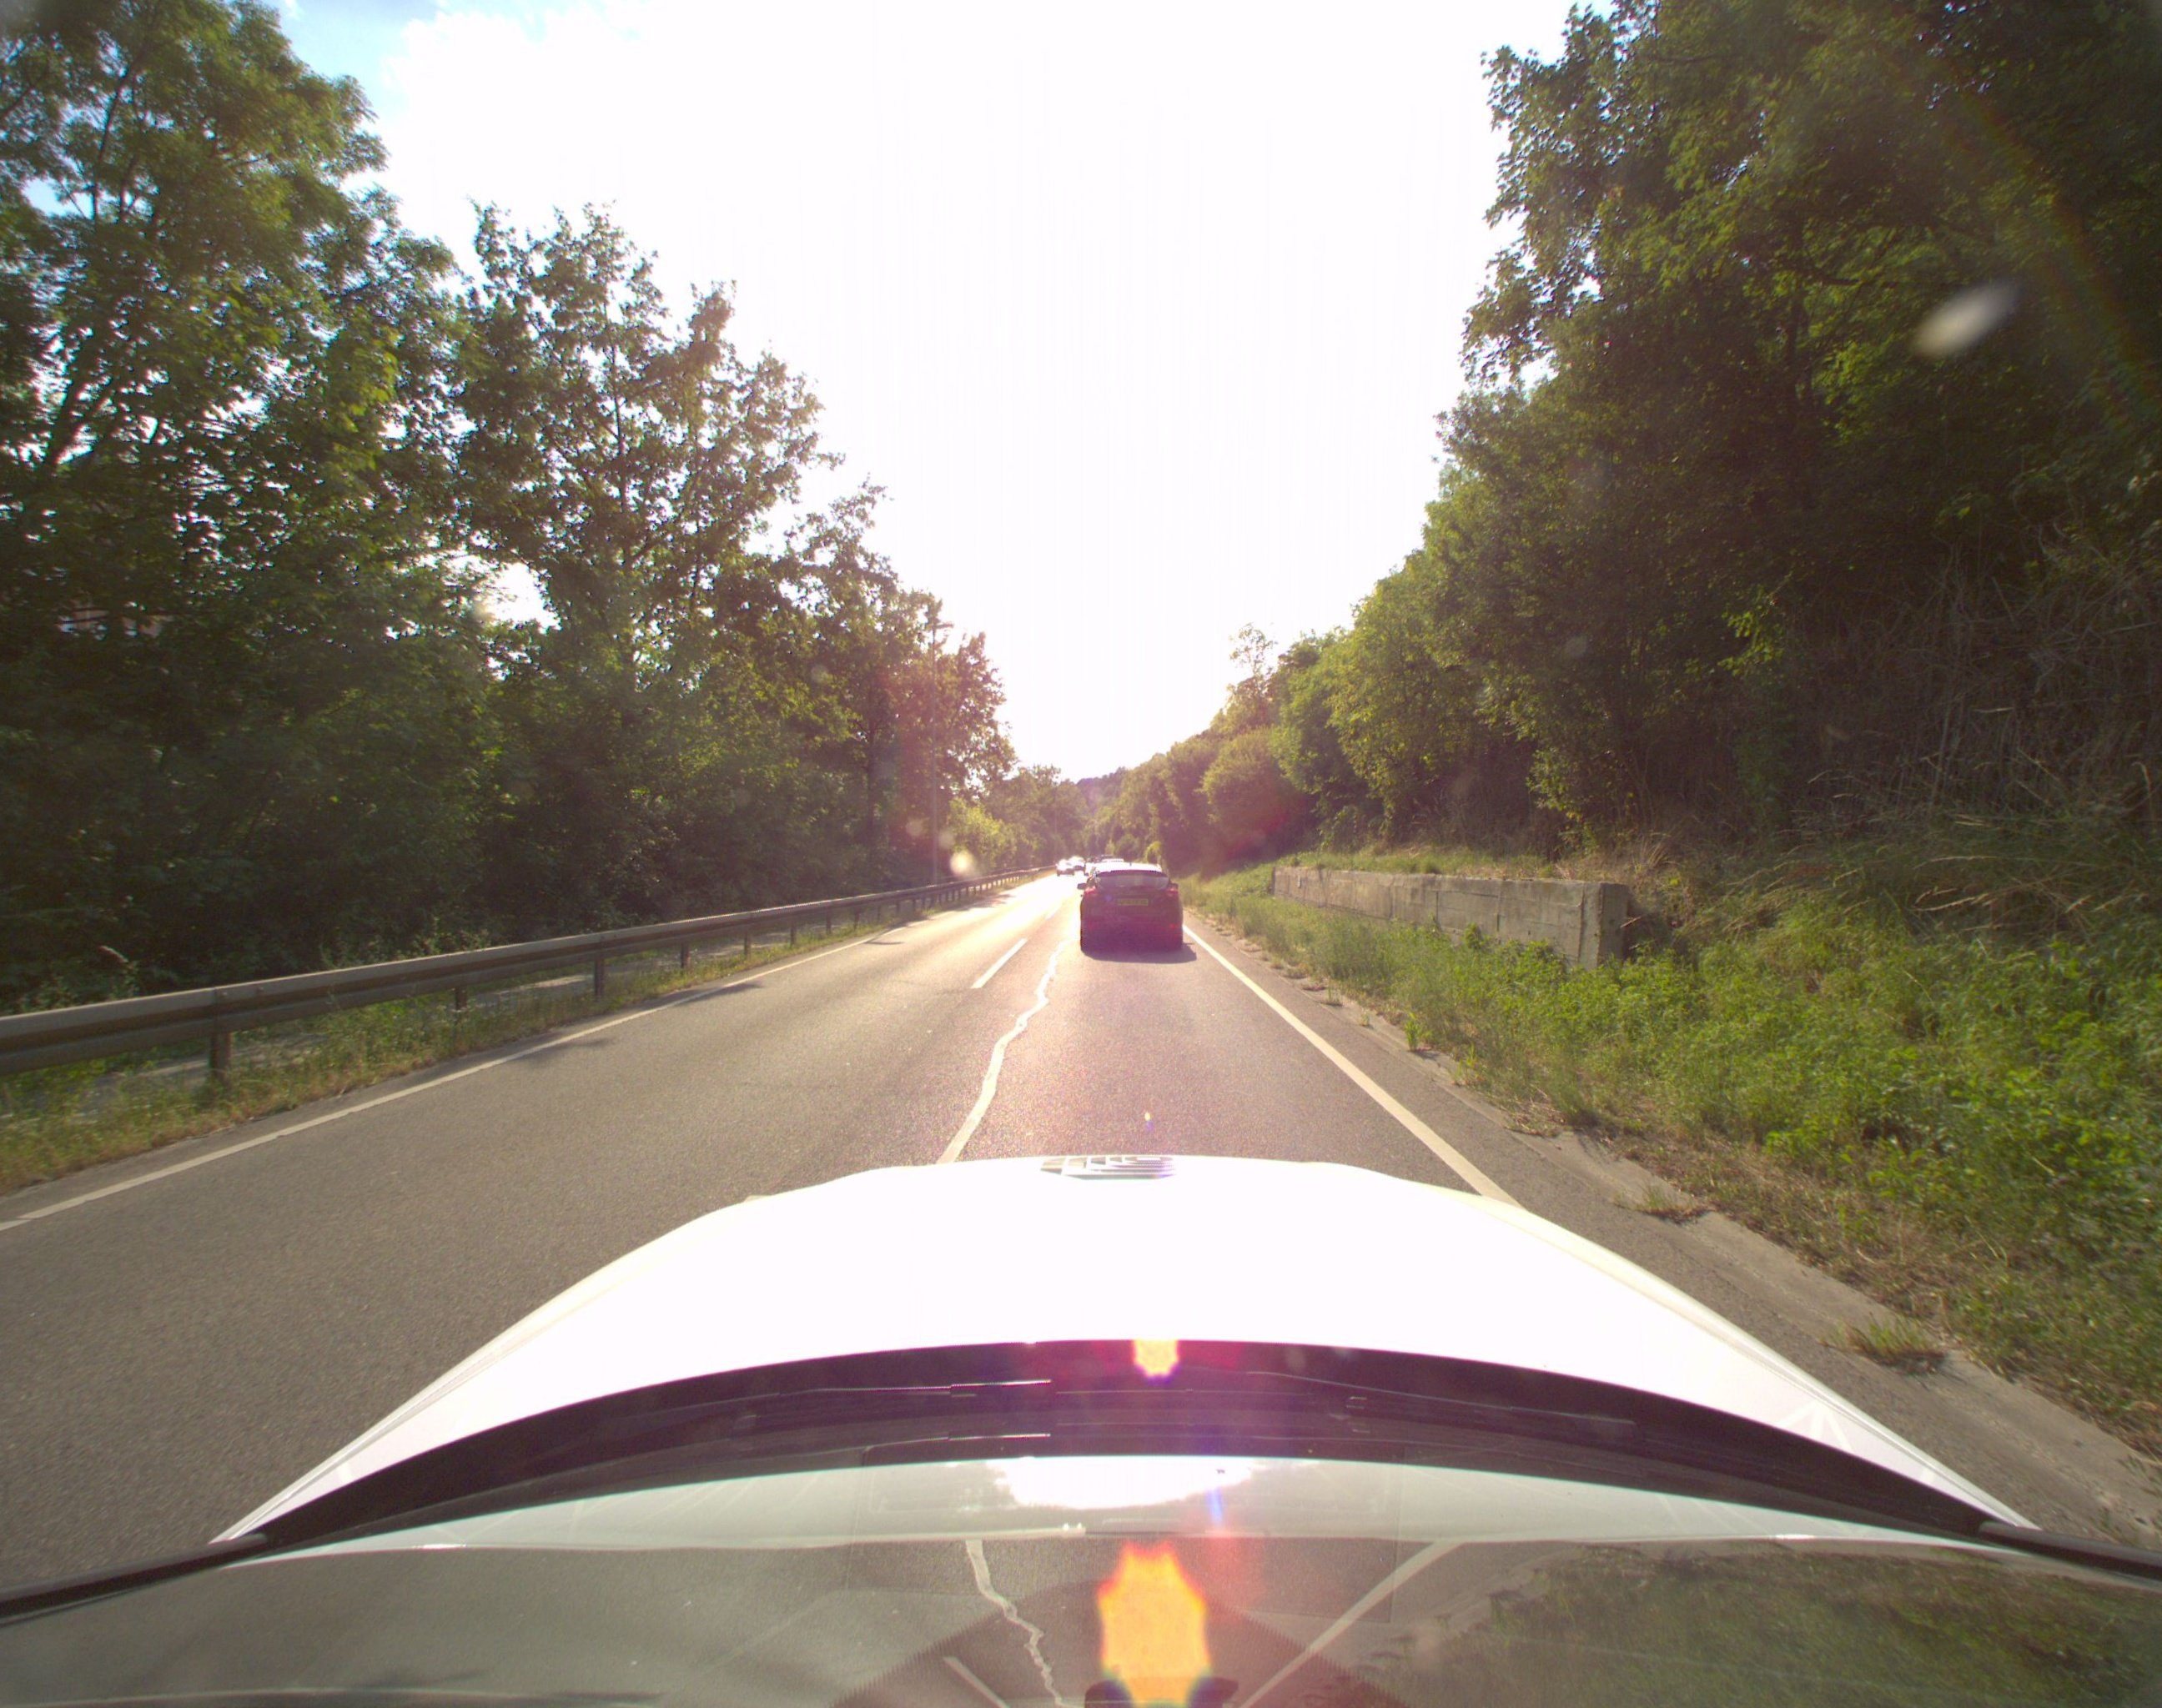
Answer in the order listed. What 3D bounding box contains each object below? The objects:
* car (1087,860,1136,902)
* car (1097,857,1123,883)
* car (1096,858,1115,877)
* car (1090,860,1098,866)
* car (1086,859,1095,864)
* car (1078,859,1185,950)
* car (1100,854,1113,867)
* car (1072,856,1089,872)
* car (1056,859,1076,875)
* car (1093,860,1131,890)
[{"bbox_3d":[1.159,0.951,30.099,1.654,1.418,4.003,-1,0,3],"label":"car"},{"bbox_3d":[1.925,1.038,53.906,1.624,1.596,4.002,-1,0,2],"label":"car"},{"bbox_3d":[2.207,1.216,73.594,1.624,1.596,4.002,-1,0,2],"label":"car"},{"bbox_3d":[3.715,2.582,230.848,1.991,1.519,3.992,-1,0,-6],"label":"car"},{"bbox_3d":[2.851,2.161,243.293,1.991,1.519,3.992,-1,0,-6],"label":"car"},{"bbox_3d":[0.886,0.839,15.238,1.733,1.456,4.001,0,-1,2],"label":"car"},{"bbox_3d":[3.651,0.954,118.025,1.856,1.781,4.001,-1,0,1],"label":"car"},{"bbox_3d":[-0.059,1.147,93.396,1.741,1.717,4.223,-2,0,2],"label":"car"},{"bbox_3d":[-1.393,1.223,77.515,1.675,1.442,4.002,-2,0,2],"label":"car"},{"bbox_3d":[1.576,1.008,41.189,1.798,1.391,4.002,-1,0,2],"label":"car"}]
